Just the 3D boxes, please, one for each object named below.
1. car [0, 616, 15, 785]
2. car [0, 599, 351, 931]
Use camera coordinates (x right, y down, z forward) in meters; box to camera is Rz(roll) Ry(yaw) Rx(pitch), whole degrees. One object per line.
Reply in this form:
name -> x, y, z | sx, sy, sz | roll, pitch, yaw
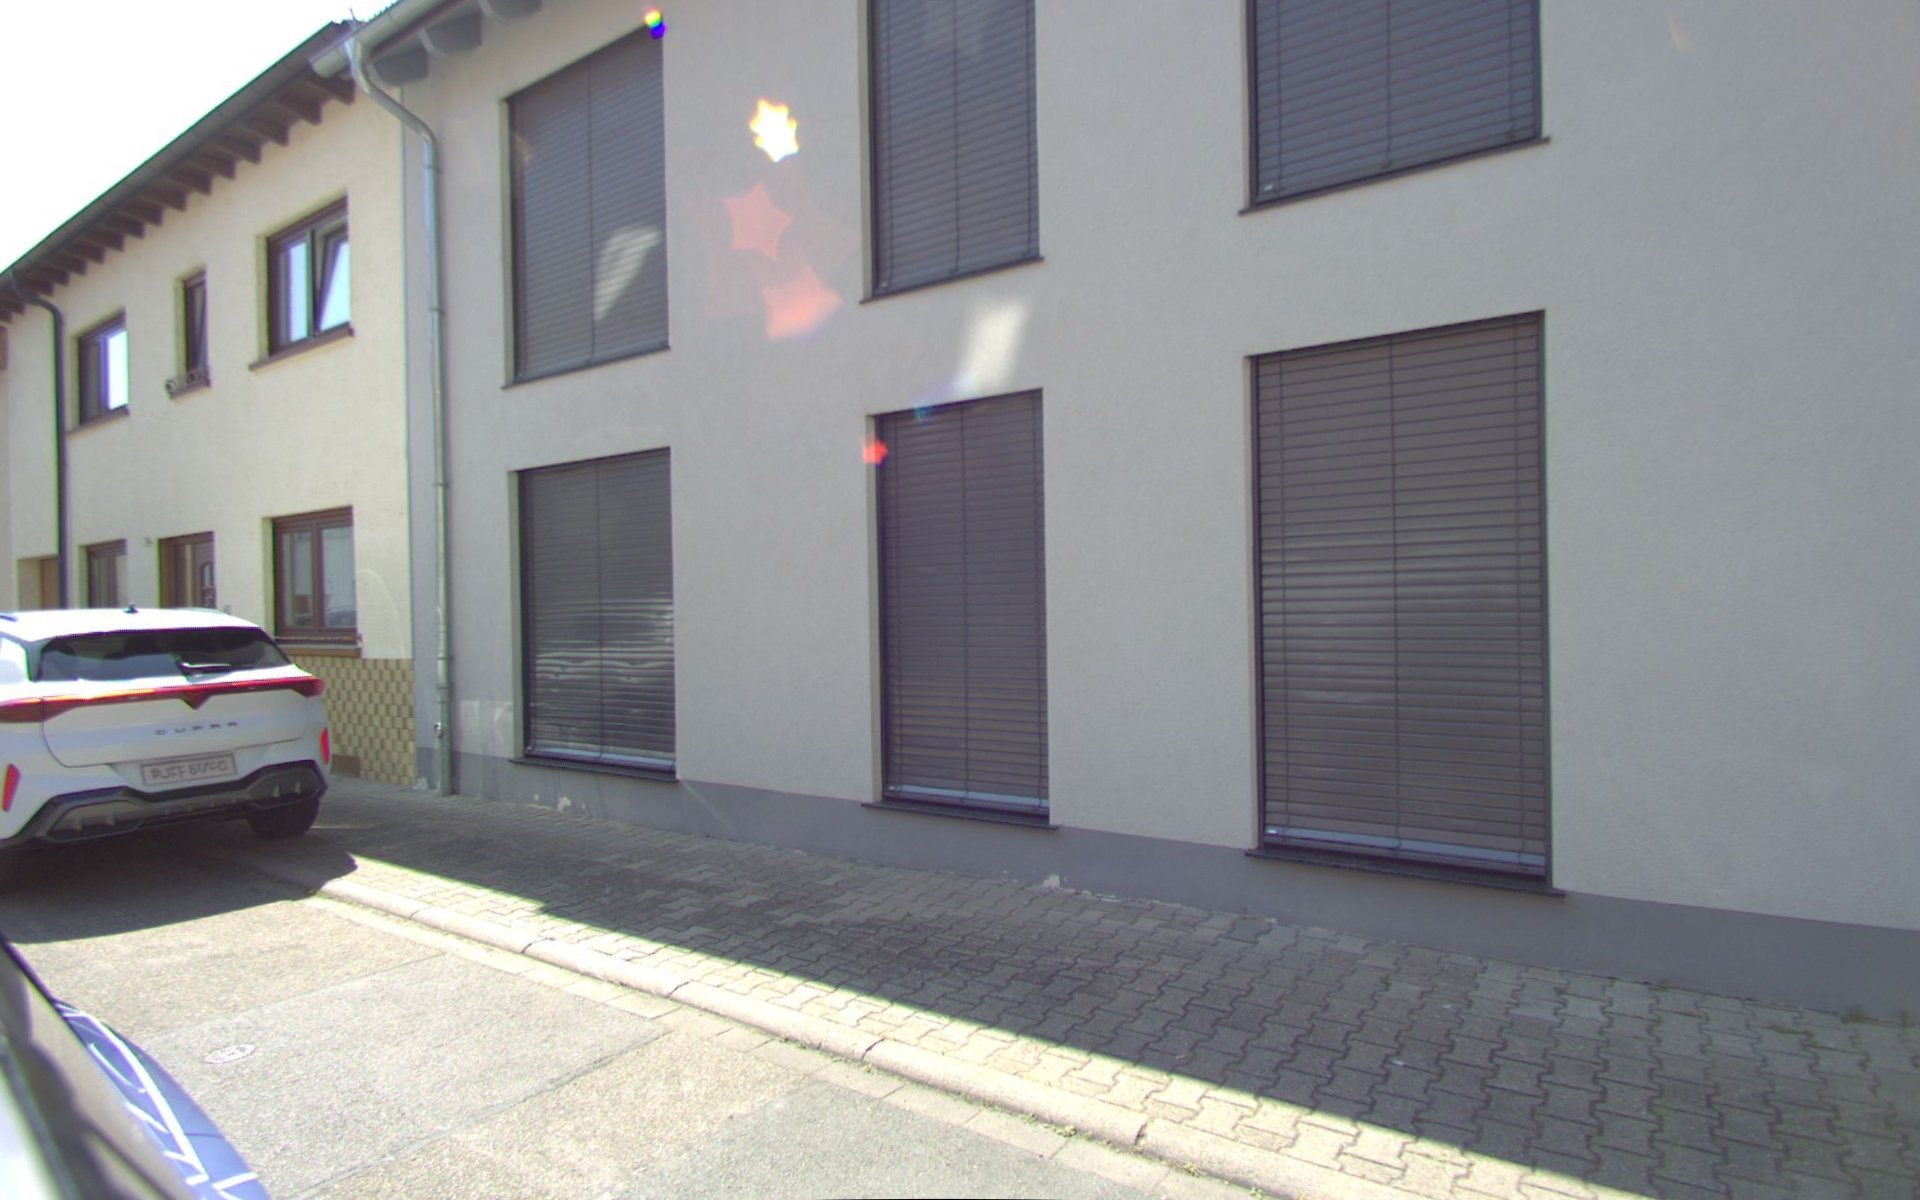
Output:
car -> -11.291, 1.003, 10.331 | 3.981, 1.627, 1.707 | -1, -1, 36
car -> -6.127, 0.856, 6.809 | 4.335, 1.627, 1.760 | -1, -1, 33
